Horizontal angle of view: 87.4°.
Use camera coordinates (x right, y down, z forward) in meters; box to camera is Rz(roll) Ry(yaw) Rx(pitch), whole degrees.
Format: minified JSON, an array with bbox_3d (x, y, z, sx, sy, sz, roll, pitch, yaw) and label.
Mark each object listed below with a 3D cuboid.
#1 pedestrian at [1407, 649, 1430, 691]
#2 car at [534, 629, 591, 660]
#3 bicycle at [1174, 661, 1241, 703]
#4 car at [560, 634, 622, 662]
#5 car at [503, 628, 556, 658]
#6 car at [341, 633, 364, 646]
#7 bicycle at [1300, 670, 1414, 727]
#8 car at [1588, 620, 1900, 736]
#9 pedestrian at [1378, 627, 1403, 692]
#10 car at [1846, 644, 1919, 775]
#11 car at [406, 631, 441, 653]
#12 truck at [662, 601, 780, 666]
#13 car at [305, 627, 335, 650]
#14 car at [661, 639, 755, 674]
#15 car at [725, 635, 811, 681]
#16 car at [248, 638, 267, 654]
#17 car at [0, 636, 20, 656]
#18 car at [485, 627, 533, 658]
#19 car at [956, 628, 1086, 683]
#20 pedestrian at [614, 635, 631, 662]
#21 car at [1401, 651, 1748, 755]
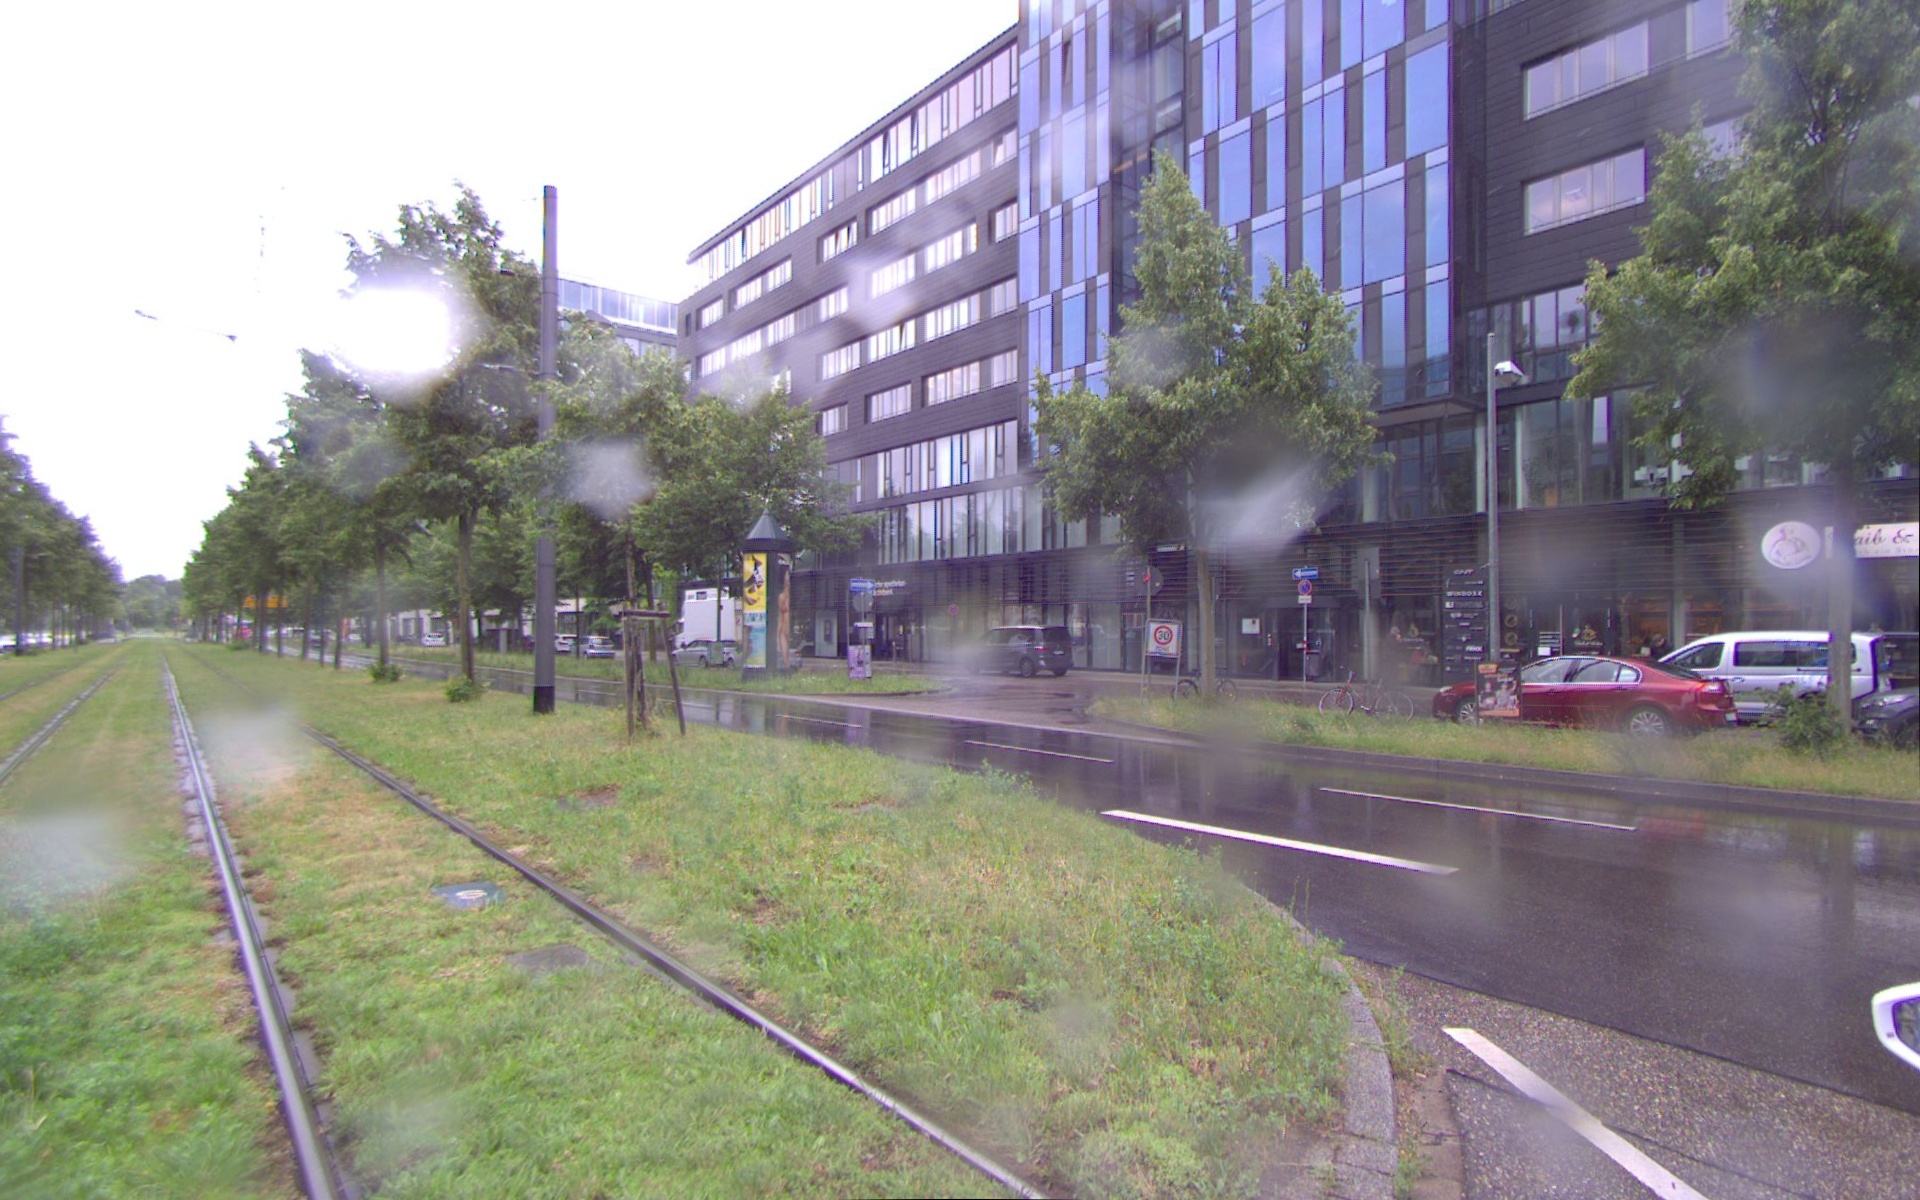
[{"bbox_3d":[14.143,2.162,30.978,0.441,1.253,0.582,2,0,3],"label":"pedestrian"},{"bbox_3d":[-24.696,2.716,62.290,1.983,1.691,4.671,2,0,-38],"label":"car"},{"bbox_3d":[5.751,1.908,23.365,1.435,0.929,0.432,2,0,-7],"label":"bicycle"},{"bbox_3d":[-21.240,2.729,57.677,1.762,1.471,4.667,3,-3,-41],"label":"car"},{"bbox_3d":[-28.673,2.841,66.842,1.983,1.691,4.903,2,0,-38],"label":"car"},{"bbox_3d":[-76.609,4.968,126.556,1.871,1.526,4.671,2,0,-38],"label":"car"},{"bbox_3d":[7.398,1.816,18.770,1.883,0.873,0.572,2,0,36],"label":"bicycle"},{"bbox_3d":[15.574,1.441,20.164,1.885,1.891,4.665,2,0,-42],"label":"car"},{"bbox_3d":[12.658,1.740,29.547,0.565,1.857,0.507,2,0,15],"label":"pedestrian"},{"bbox_3d":[14.517,1.538,13.108,1.984,1.730,4.169,2,0,-40],"label":"car"},{"bbox_3d":[-48.622,3.775,90.964,1.983,1.691,4.671,2,0,-38],"label":"car"},{"bbox_3d":[-13.982,1.925,58.236,3.012,3.486,8.444,2,-3,-41],"label":"truck"},{"bbox_3d":[-60.598,3.626,95.062,1.930,2.040,3.956,2,0,-38],"label":"car"},{"bbox_3d":[-11.621,2.567,46.081,1.985,1.463,5.173,2,-3,-42],"label":"car"},{"bbox_3d":[-7.865,2.316,40.971,1.751,1.618,4.054,2,0,-38],"label":"car"},{"bbox_3d":[-98.975,6.525,141.503,1.981,2.040,3.958,2,0,-36],"label":"car"},{"bbox_3d":[-75.944,3.611,79.425,1.941,1.533,4.525,2,-3,-39],"label":"car"},{"bbox_3d":[-32.606,3.057,72.595,1.983,1.978,4.973,2,0,-38],"label":"car"},{"bbox_3d":[2.242,2.066,38.429,1.985,1.945,5.088,2,-2,-41],"label":"car"},{"bbox_3d":[-18.652,2.678,55.494,0.695,1.513,0.636,2,-2,-42],"label":"pedestrian"},{"bbox_3d":[10.678,1.693,17.832,1.983,1.474,4.904,2,-2,-38],"label":"car"}]
